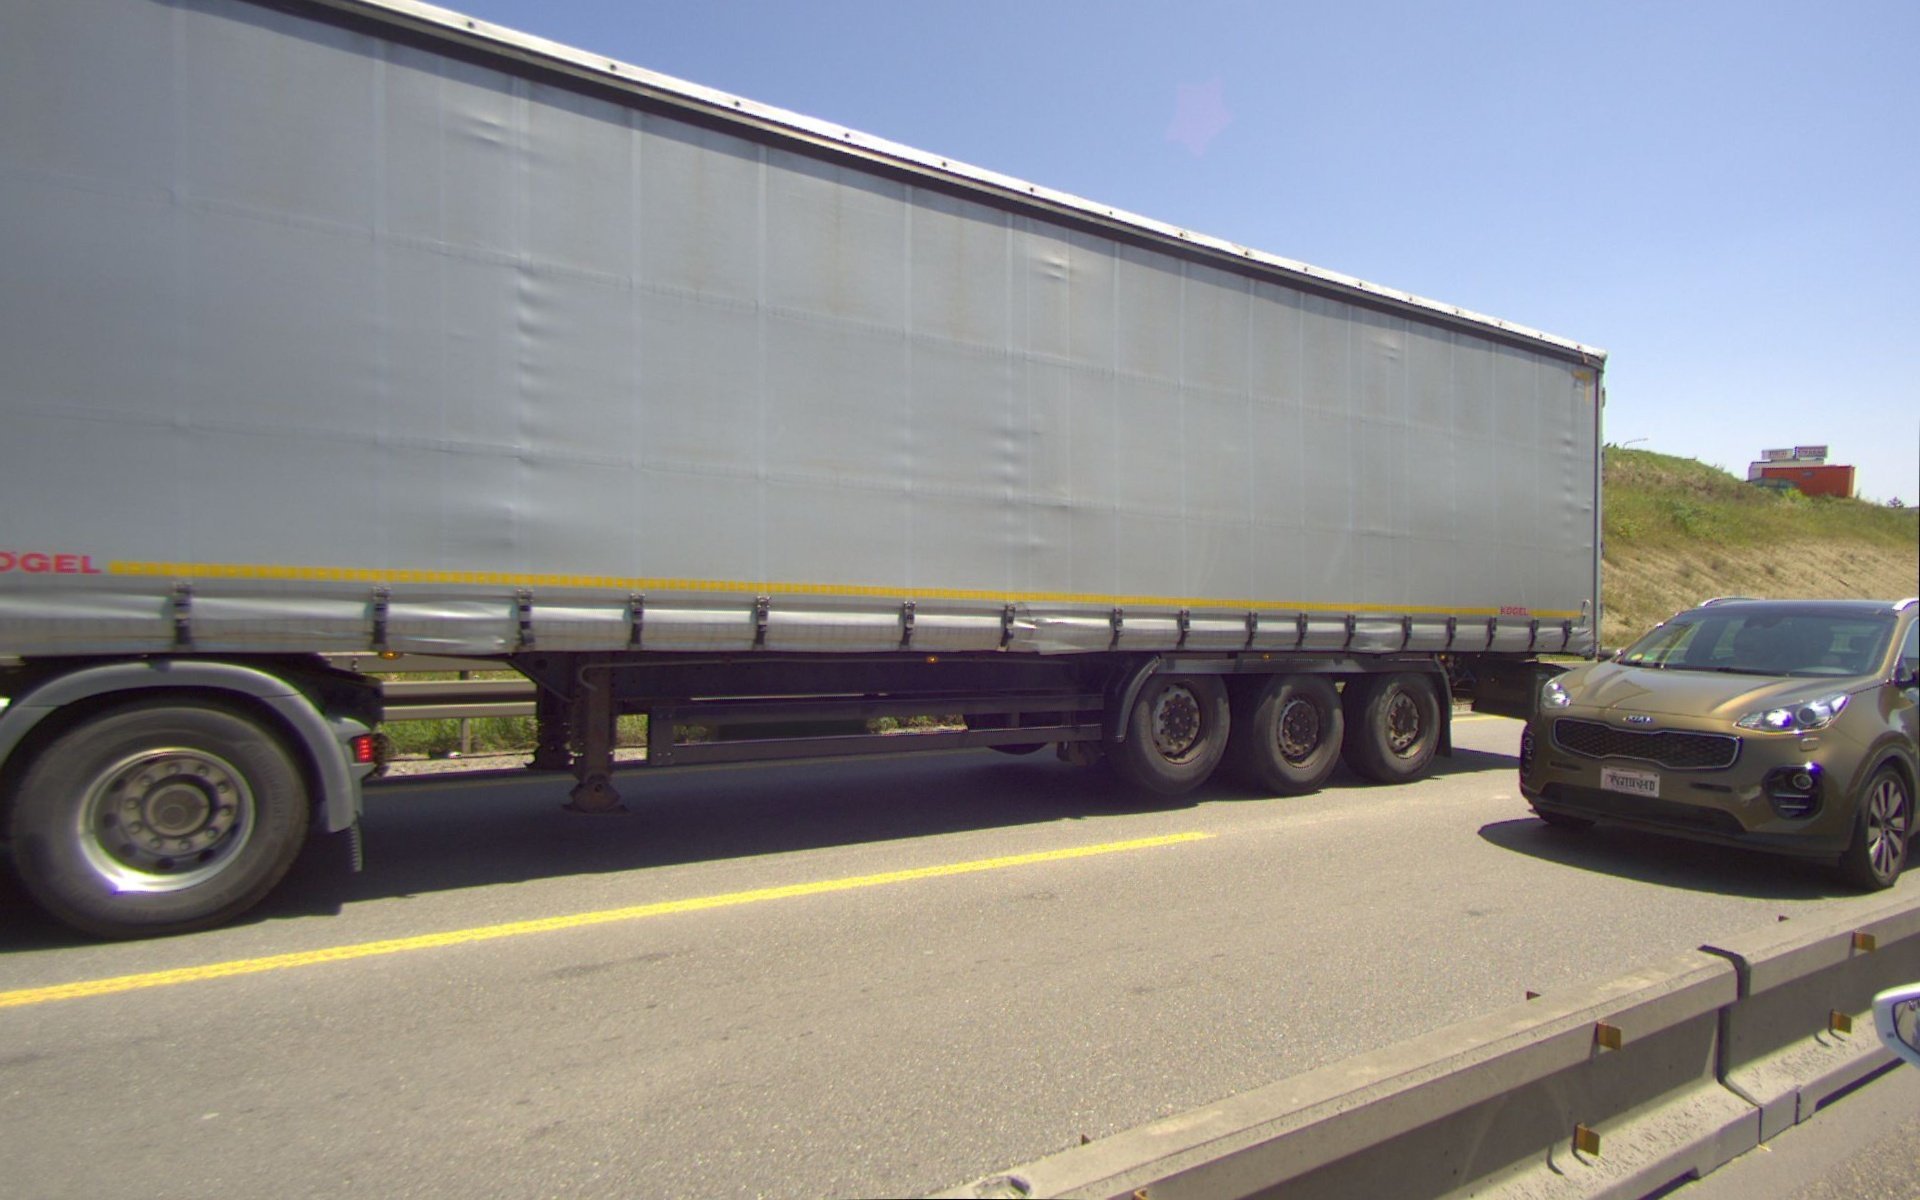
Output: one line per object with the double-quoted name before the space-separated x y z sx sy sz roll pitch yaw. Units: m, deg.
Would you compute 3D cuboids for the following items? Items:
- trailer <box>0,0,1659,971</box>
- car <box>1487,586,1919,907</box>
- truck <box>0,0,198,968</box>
"trailer" 0.413 -0.703 7.801 13.874 4.344 2.796 1 0 -31
"car" 5.712 0.756 6.891 4.126 1.607 1.839 1 0 -31
"truck" -6.056 -0.839 3.862 4.623 4.344 2.760 1 0 -31
